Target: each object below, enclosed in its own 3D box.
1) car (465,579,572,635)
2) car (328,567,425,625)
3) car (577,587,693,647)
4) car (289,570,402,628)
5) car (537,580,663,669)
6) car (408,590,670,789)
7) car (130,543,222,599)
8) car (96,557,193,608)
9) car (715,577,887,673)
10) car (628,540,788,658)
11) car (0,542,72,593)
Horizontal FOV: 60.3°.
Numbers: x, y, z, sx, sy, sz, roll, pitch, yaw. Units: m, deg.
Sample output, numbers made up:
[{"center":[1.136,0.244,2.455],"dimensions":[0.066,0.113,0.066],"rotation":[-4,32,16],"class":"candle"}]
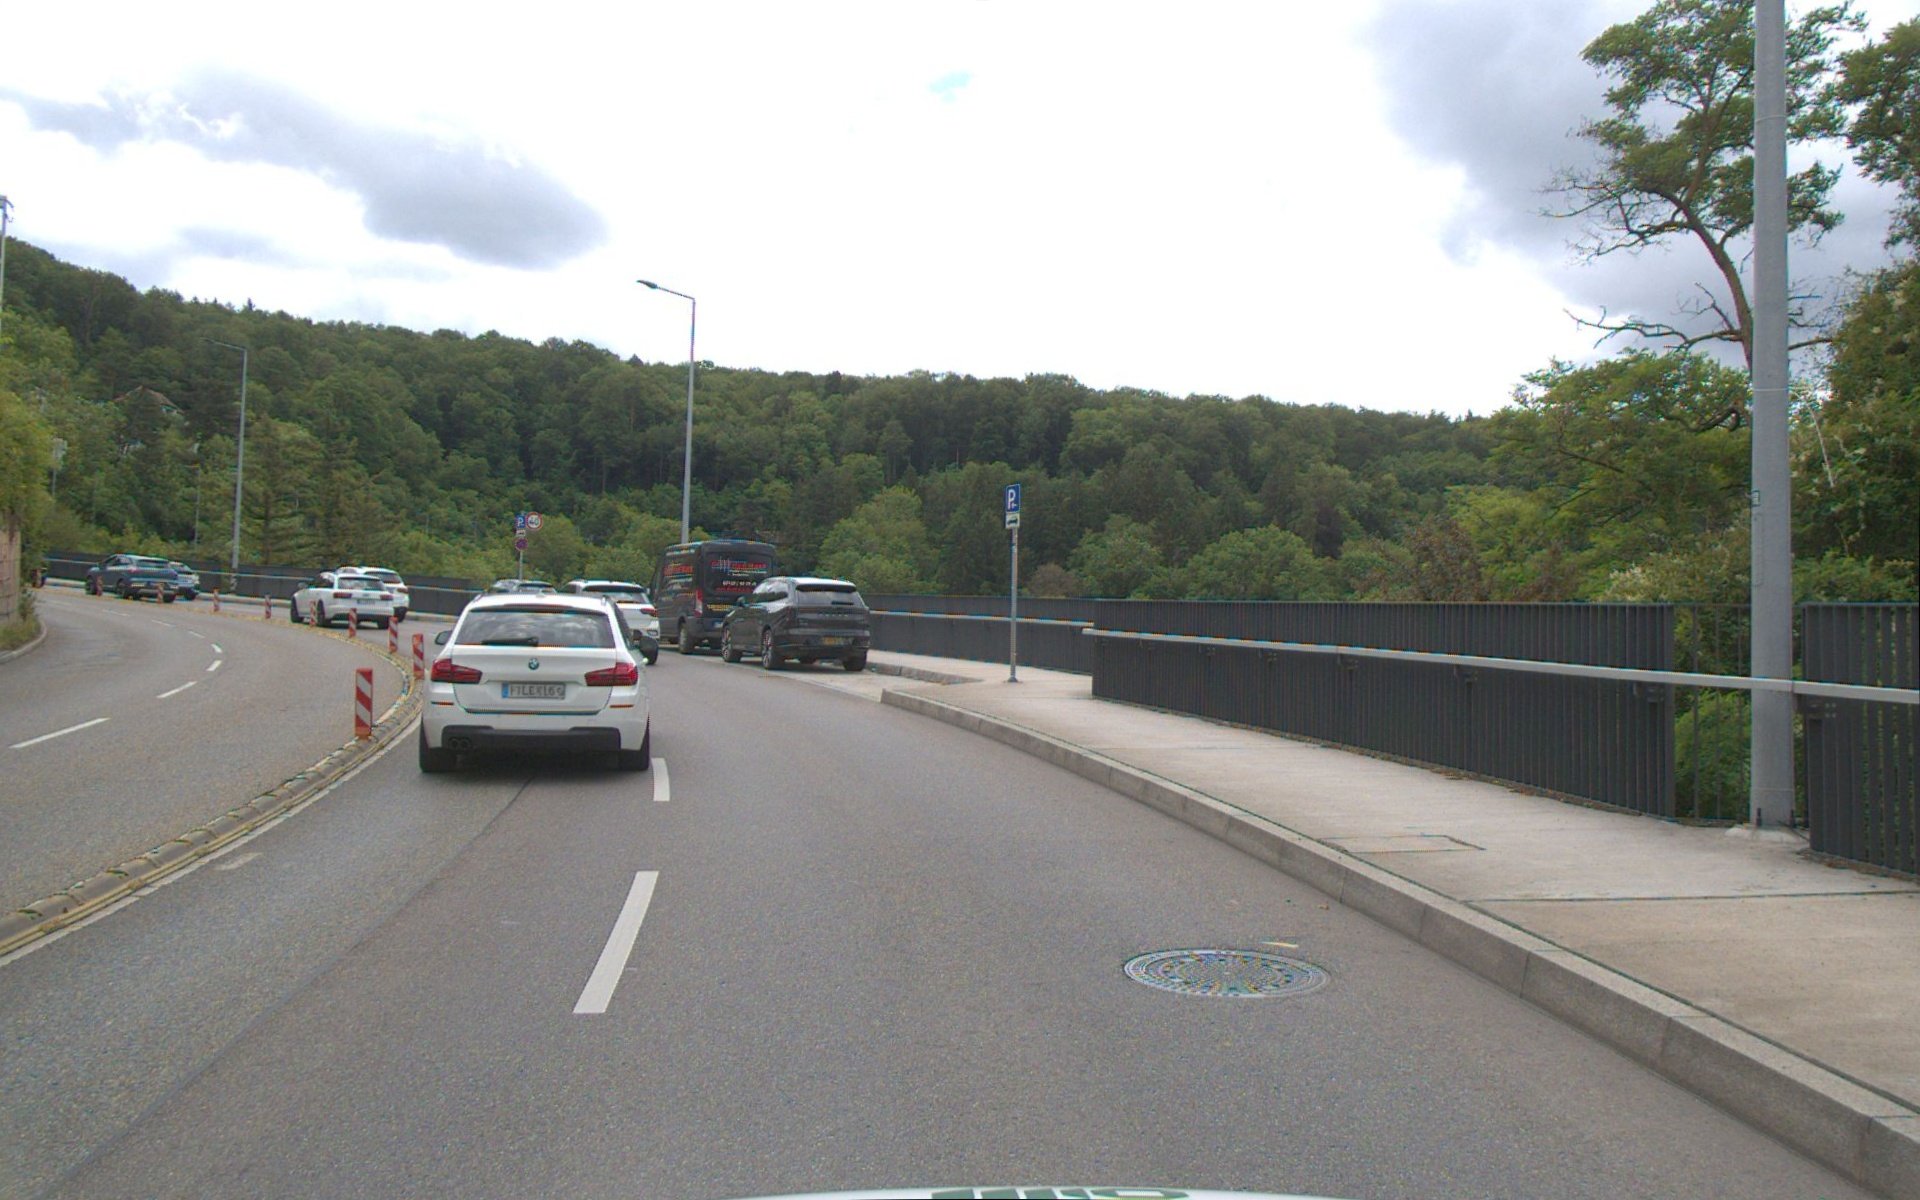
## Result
[{"center":[-13.893,0.203,51.895],"dimensions":[1.860,1.570,4.038],"rotation":[3,-1,-36],"class":"car"},{"center":[-18.608,-0.107,52.615],"dimensions":[1.976,1.748,4.065],"rotation":[-1,0,-34],"class":"car"},{"center":[-8.725,0.429,44.173],"dimensions":[1.699,1.456,3.805],"rotation":[2,0,-34],"class":"car"},{"center":[-17.077,-0.039,45.856],"dimensions":[1.976,1.529,4.613],"rotation":[0,0,-33],"class":"car"},{"center":[-7.195,0.461,32.809],"dimensions":[1.803,1.634,3.973],"rotation":[0,0,-22],"class":"car"},{"center":[-3.606,0.662,14.894],"dimensions":[1.794,1.485,4.478],"rotation":[0,1,-8],"class":"car"},{"center":[-30.129,-1.088,63.516],"dimensions":[1.985,2.049,3.934],"rotation":[1,-1,-45],"class":"car"},{"center":[-28.729,-0.594,58.204],"dimensions":[1.985,1.677,3.936],"rotation":[-1,0,-44],"class":"car"},{"center":[-3.257,0.472,32.880],"dimensions":[1.967,1.748,5.012],"rotation":[0,0,-23],"class":"car"},{"center":[-6.045,-0.074,39.065],"dimensions":[2.140,2.565,5.722],"rotation":[0,1,-26],"class":"car"},{"center":[-37.240,-1.275,66.274],"dimensions":[1.861,1.793,3.934],"rotation":[4,-4,-44],"class":"car"}]
